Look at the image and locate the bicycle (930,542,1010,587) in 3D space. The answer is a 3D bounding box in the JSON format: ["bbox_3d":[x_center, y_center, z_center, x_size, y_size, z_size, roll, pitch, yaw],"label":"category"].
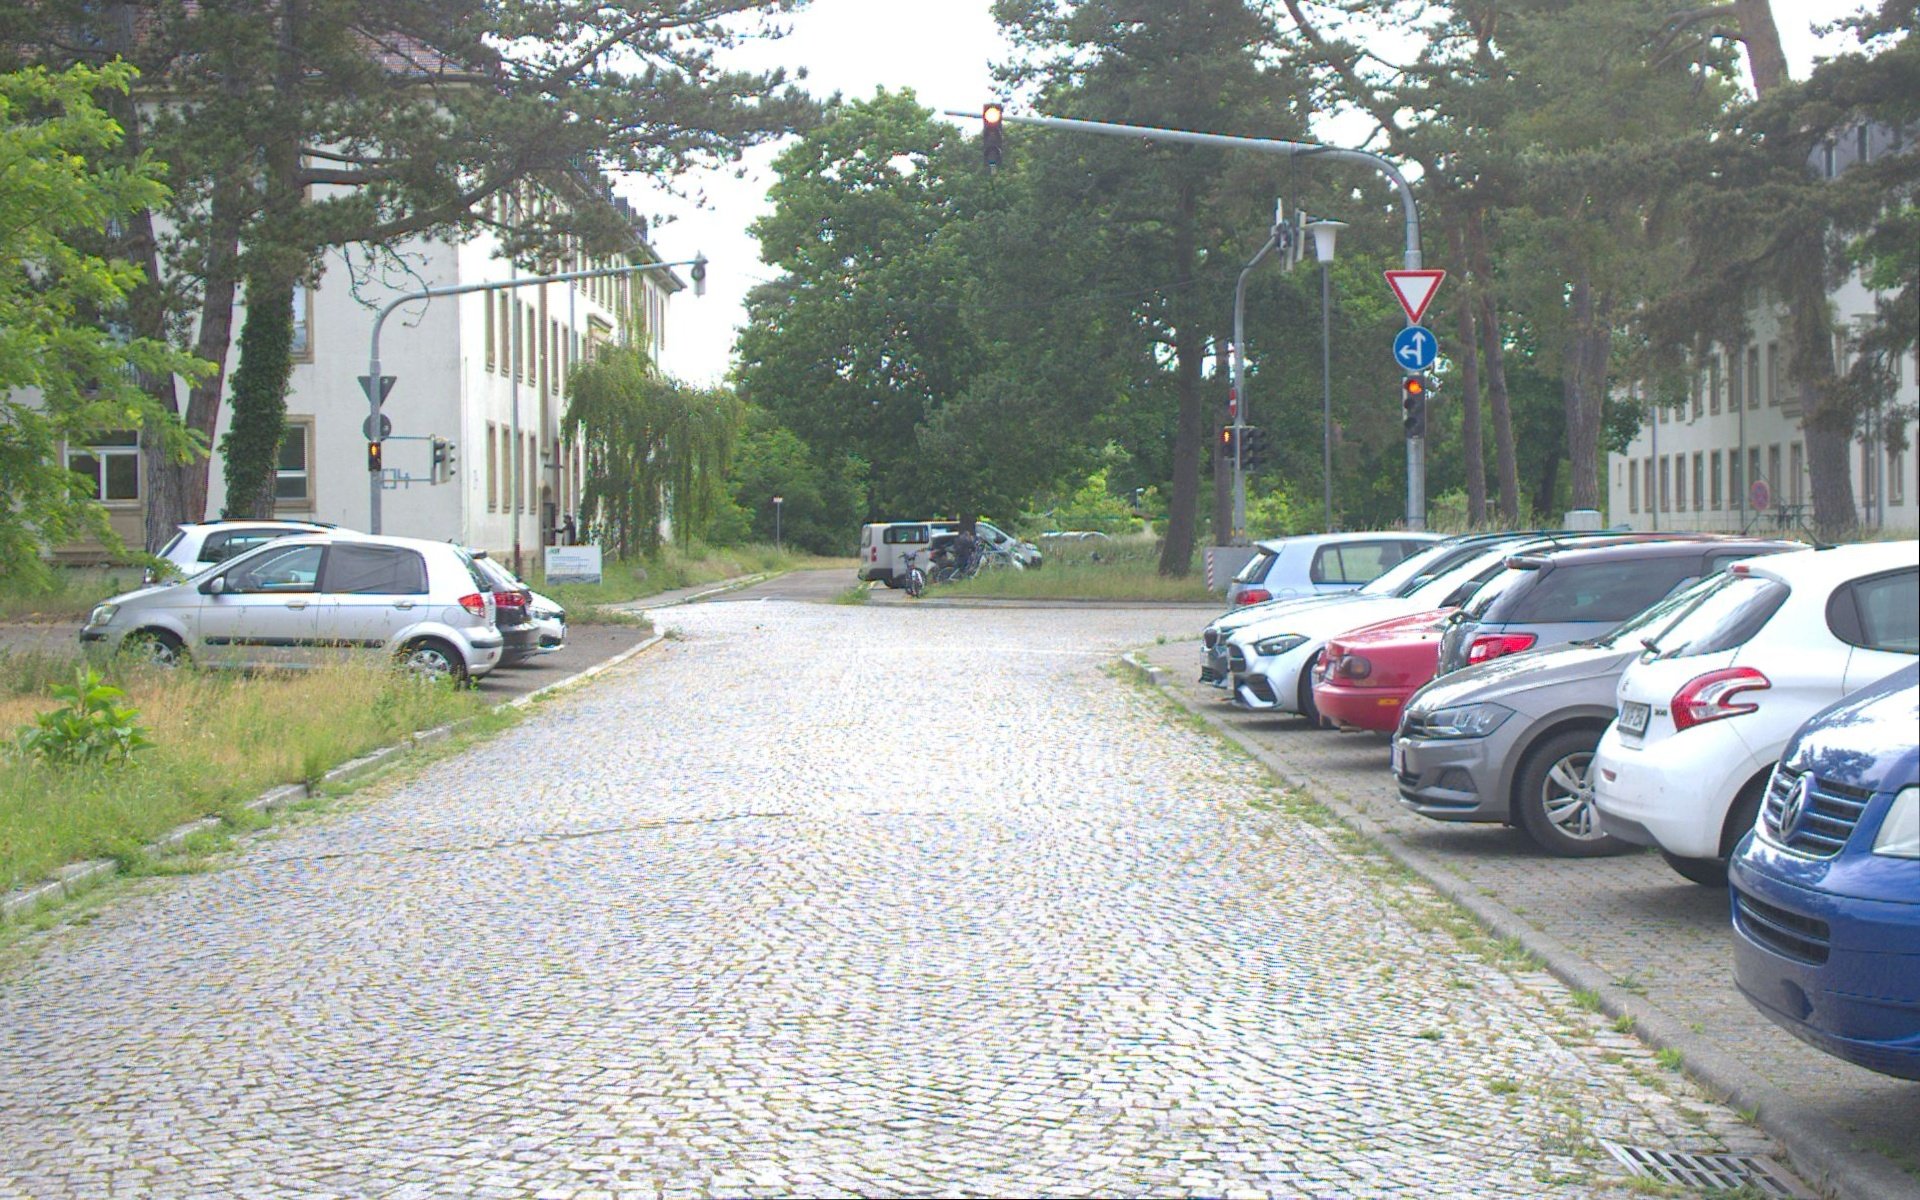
[{"bbox_3d":[0.252,-0.881,84.747,1.955,1.066,0.588,-1,1,-30],"label":"bicycle"}]

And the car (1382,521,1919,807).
[{"bbox_3d":[4.530,0.324,19.936,3.862,1.467,1.758,-2,1,-1],"label":"car"}]

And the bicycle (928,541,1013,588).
[{"bbox_3d":[0.241,-0.851,81.913,1.954,1.113,0.588,0,1,-7],"label":"bicycle"}]

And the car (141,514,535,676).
[{"bbox_3d":[-6.641,-0.068,36.986,3.947,1.558,1.650,2,1,-3],"label":"car"}]

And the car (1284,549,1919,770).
[{"bbox_3d":[4.173,0.361,22.534,3.862,1.232,1.758,-2,1,-1],"label":"car"}]

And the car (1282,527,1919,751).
[{"bbox_3d":[4.593,0.254,25.048,4.261,1.412,1.871,-2,1,-1],"label":"car"}]

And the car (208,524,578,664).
[{"bbox_3d":[-6.472,-0.079,39.529,3.947,1.416,1.650,2,1,-1],"label":"car"}]

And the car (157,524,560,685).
[{"bbox_3d":[-5.936,0.030,34.210,3.745,1.424,1.583,2,1,-3],"label":"car"}]

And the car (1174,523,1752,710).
[{"bbox_3d":[4.319,0.117,29.999,4.680,1.412,1.871,-2,1,-3],"label":"car"}]

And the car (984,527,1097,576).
[{"bbox_3d":[2.407,-1.460,103.247,3.231,1.411,1.725,-1,1,-3],"label":"car"}]

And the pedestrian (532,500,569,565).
[{"bbox_3d":[-11.559,-1.905,96.964,0.774,1.831,0.741,-1,1,-32],"label":"pedestrian"}]

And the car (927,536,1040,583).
[{"bbox_3d":[0.648,-1.148,96.000,3.005,1.264,1.535,-1,1,-6],"label":"car"}]

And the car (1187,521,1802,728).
[{"bbox_3d":[4.194,0.159,27.314,4.421,1.412,1.871,-2,1,-9],"label":"car"}]

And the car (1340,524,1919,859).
[{"bbox_3d":[3.959,0.396,17.092,3.862,1.467,1.758,-2,1,-1],"label":"car"}]

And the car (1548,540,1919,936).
[{"bbox_3d":[4.552,0.477,14.231,3.862,1.467,1.758,-2,1,-1],"label":"car"}]

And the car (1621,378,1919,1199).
[{"bbox_3d":[4.348,0.364,8.877,4.807,1.939,2.003,-2,1,-1],"label":"car"}]

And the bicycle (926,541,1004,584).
[{"bbox_3d":[0.127,-0.967,88.432,1.954,1.066,0.588,-1,1,-25],"label":"bicycle"}]

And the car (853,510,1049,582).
[{"bbox_3d":[-0.284,-1.571,99.354,5.359,1.918,2.025,-2,1,-9],"label":"car"}]

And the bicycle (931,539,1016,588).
[{"bbox_3d":[0.312,-0.862,81.280,1.954,1.128,0.588,0,1,-7],"label":"bicycle"}]

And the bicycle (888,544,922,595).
[{"bbox_3d":[-1.258,-0.693,78.080,0.603,1.128,1.962,0,1,-6],"label":"bicycle"}]

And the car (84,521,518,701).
[{"bbox_3d":[-6.004,0.086,31.612,3.702,1.474,1.583,2,1,-3],"label":"car"}]

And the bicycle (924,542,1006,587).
[{"bbox_3d":[0.116,-0.856,83.396,1.955,1.066,0.588,-1,1,-30],"label":"bicycle"}]

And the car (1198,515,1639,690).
[{"bbox_3d":[4.273,0.002,32.451,3.927,1.472,1.642,-2,1,1],"label":"car"}]

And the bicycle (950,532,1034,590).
[{"bbox_3d":[0.771,-0.950,82.744,1.954,1.379,0.588,0,1,-7],"label":"bicycle"}]
